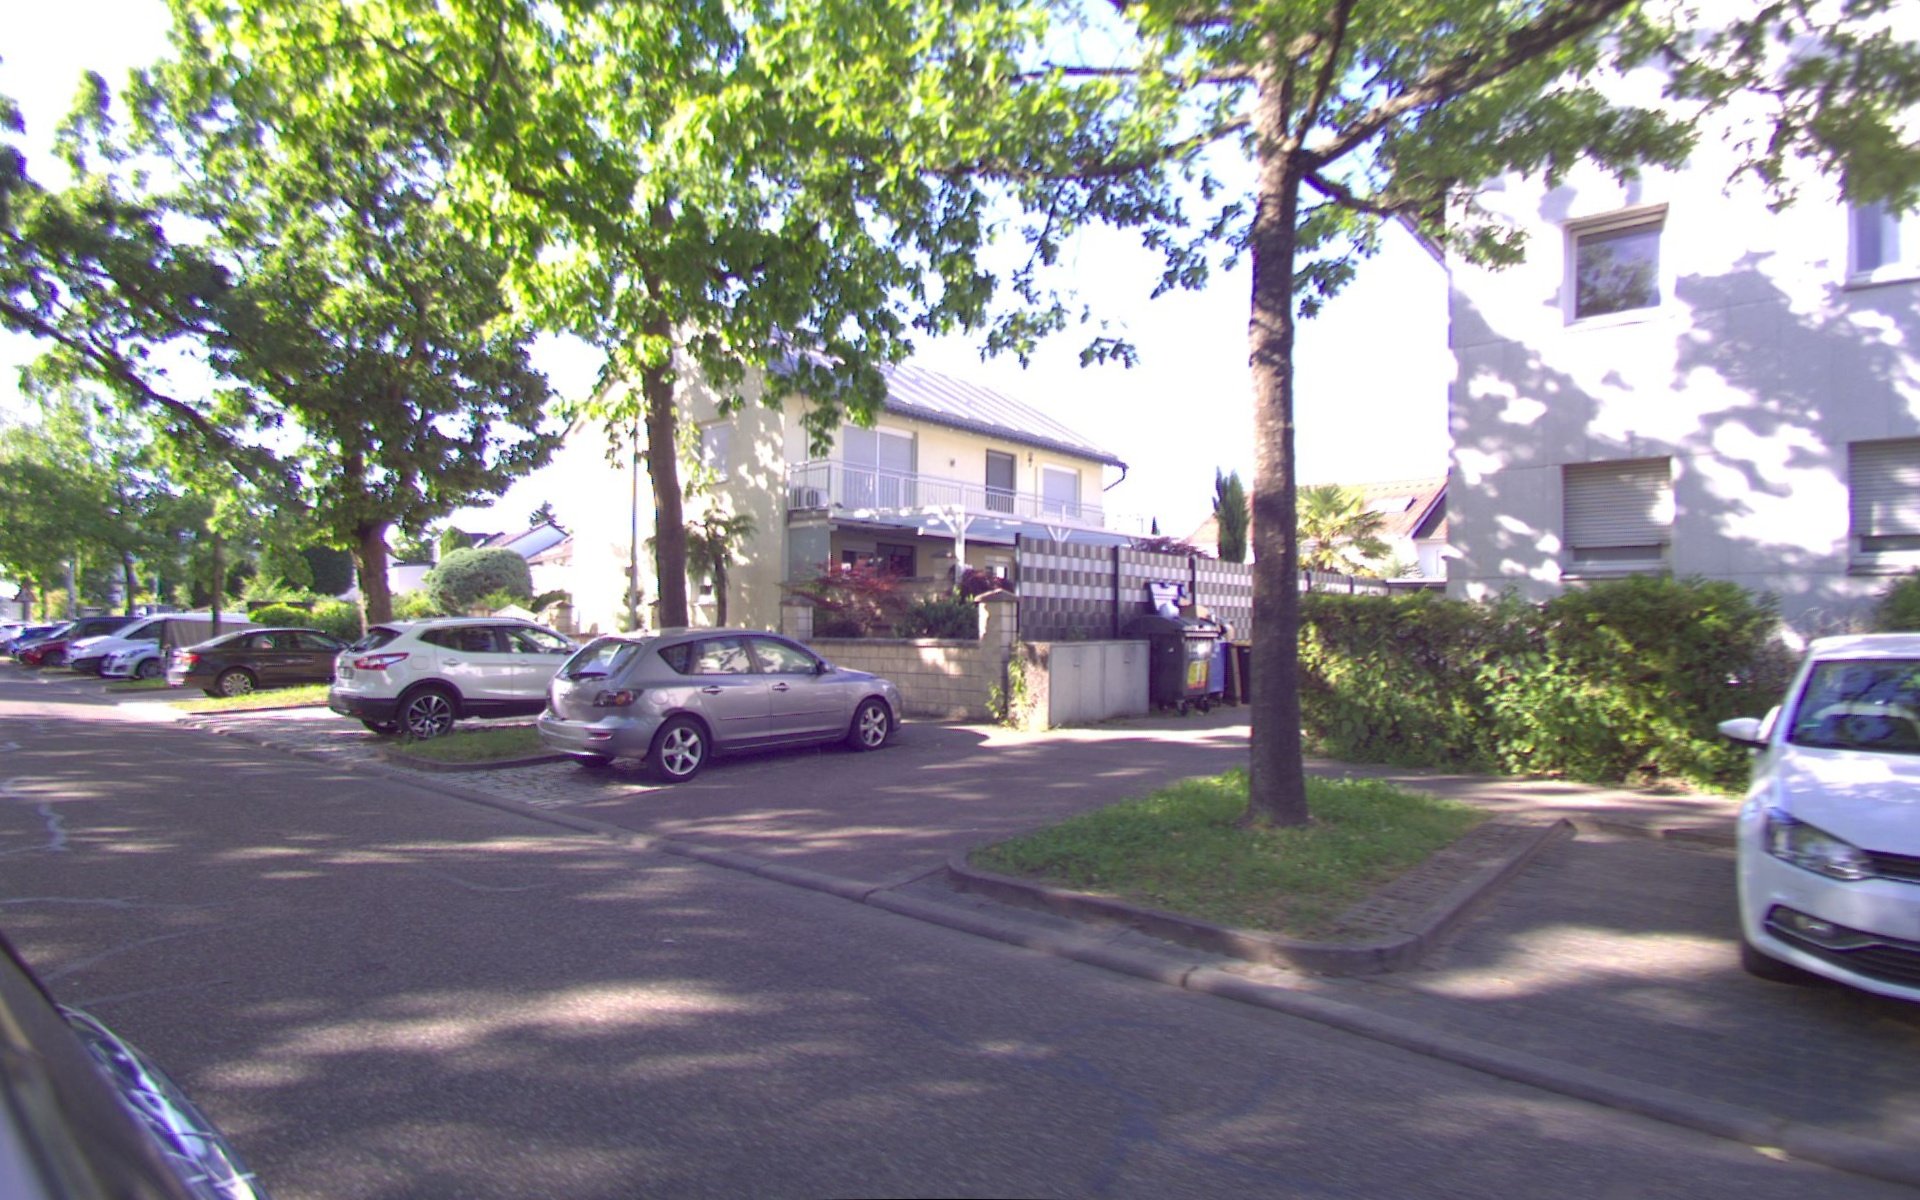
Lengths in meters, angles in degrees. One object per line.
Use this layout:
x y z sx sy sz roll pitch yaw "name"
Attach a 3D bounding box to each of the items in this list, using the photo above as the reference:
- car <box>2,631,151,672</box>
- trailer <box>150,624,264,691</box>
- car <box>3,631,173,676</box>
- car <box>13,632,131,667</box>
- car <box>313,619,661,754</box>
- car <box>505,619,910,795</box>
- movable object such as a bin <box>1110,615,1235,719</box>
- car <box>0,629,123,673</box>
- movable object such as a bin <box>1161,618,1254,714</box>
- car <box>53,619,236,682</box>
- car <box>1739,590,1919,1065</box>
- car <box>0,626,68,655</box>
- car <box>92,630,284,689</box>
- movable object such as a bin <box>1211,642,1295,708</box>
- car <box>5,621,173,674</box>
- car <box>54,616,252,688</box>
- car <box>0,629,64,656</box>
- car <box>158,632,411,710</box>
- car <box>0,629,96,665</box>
-34.894 1.986 40.074 1.722 1.435 4.229 -2 -1 39 "car"
-19.816 1.490 26.656 2.210 1.686 1.475 2 -3 -44 "trailer"
-31.124 1.865 36.217 1.837 1.511 4.427 -2 -3 43 "car"
-40.984 2.254 46.761 1.796 1.526 3.956 -2 -3 44 "car"
-6.598 1.099 14.442 1.792 1.579 4.142 -2 -1 42 "car"
-2.559 0.987 11.035 1.808 1.434 3.994 -1 0 39 "car"
3.187 0.971 15.145 1.275 1.445 1.480 0 -2 41 "movable object such as a bin"
-38.325 2.123 42.947 1.760 1.737 4.164 -2 -1 42 "car"
3.949 1.022 16.147 1.123 1.447 0.943 0 -2 41 "movable object such as a bin"
-25.581 1.535 31.866 1.965 1.783 4.197 -1 -1 39 "car"
4.881 0.827 4.642 1.856 1.608 3.945 0 -2 41 "car"
-55.843 2.412 60.201 1.919 1.586 3.917 0 0 36 "car"
-21.479 1.607 28.287 1.688 1.528 3.948 -1 -3 38 "car"
5.112 1.291 17.653 1.123 1.073 0.943 0 -2 41 "movable object such as a bin"
-32.769 1.748 38.185 1.794 1.782 4.624 -2 -1 41 "car"
-23.646 1.508 29.788 1.998 1.959 4.194 -1 -3 39 "car"
-54.425 2.441 58.667 1.707 1.507 3.477 -2 -3 41 "car"
-14.113 1.427 21.328 1.691 1.483 4.163 -2 -3 44 "car"
-45.703 2.331 50.438 1.707 1.626 3.894 -2 -1 44 "car"
